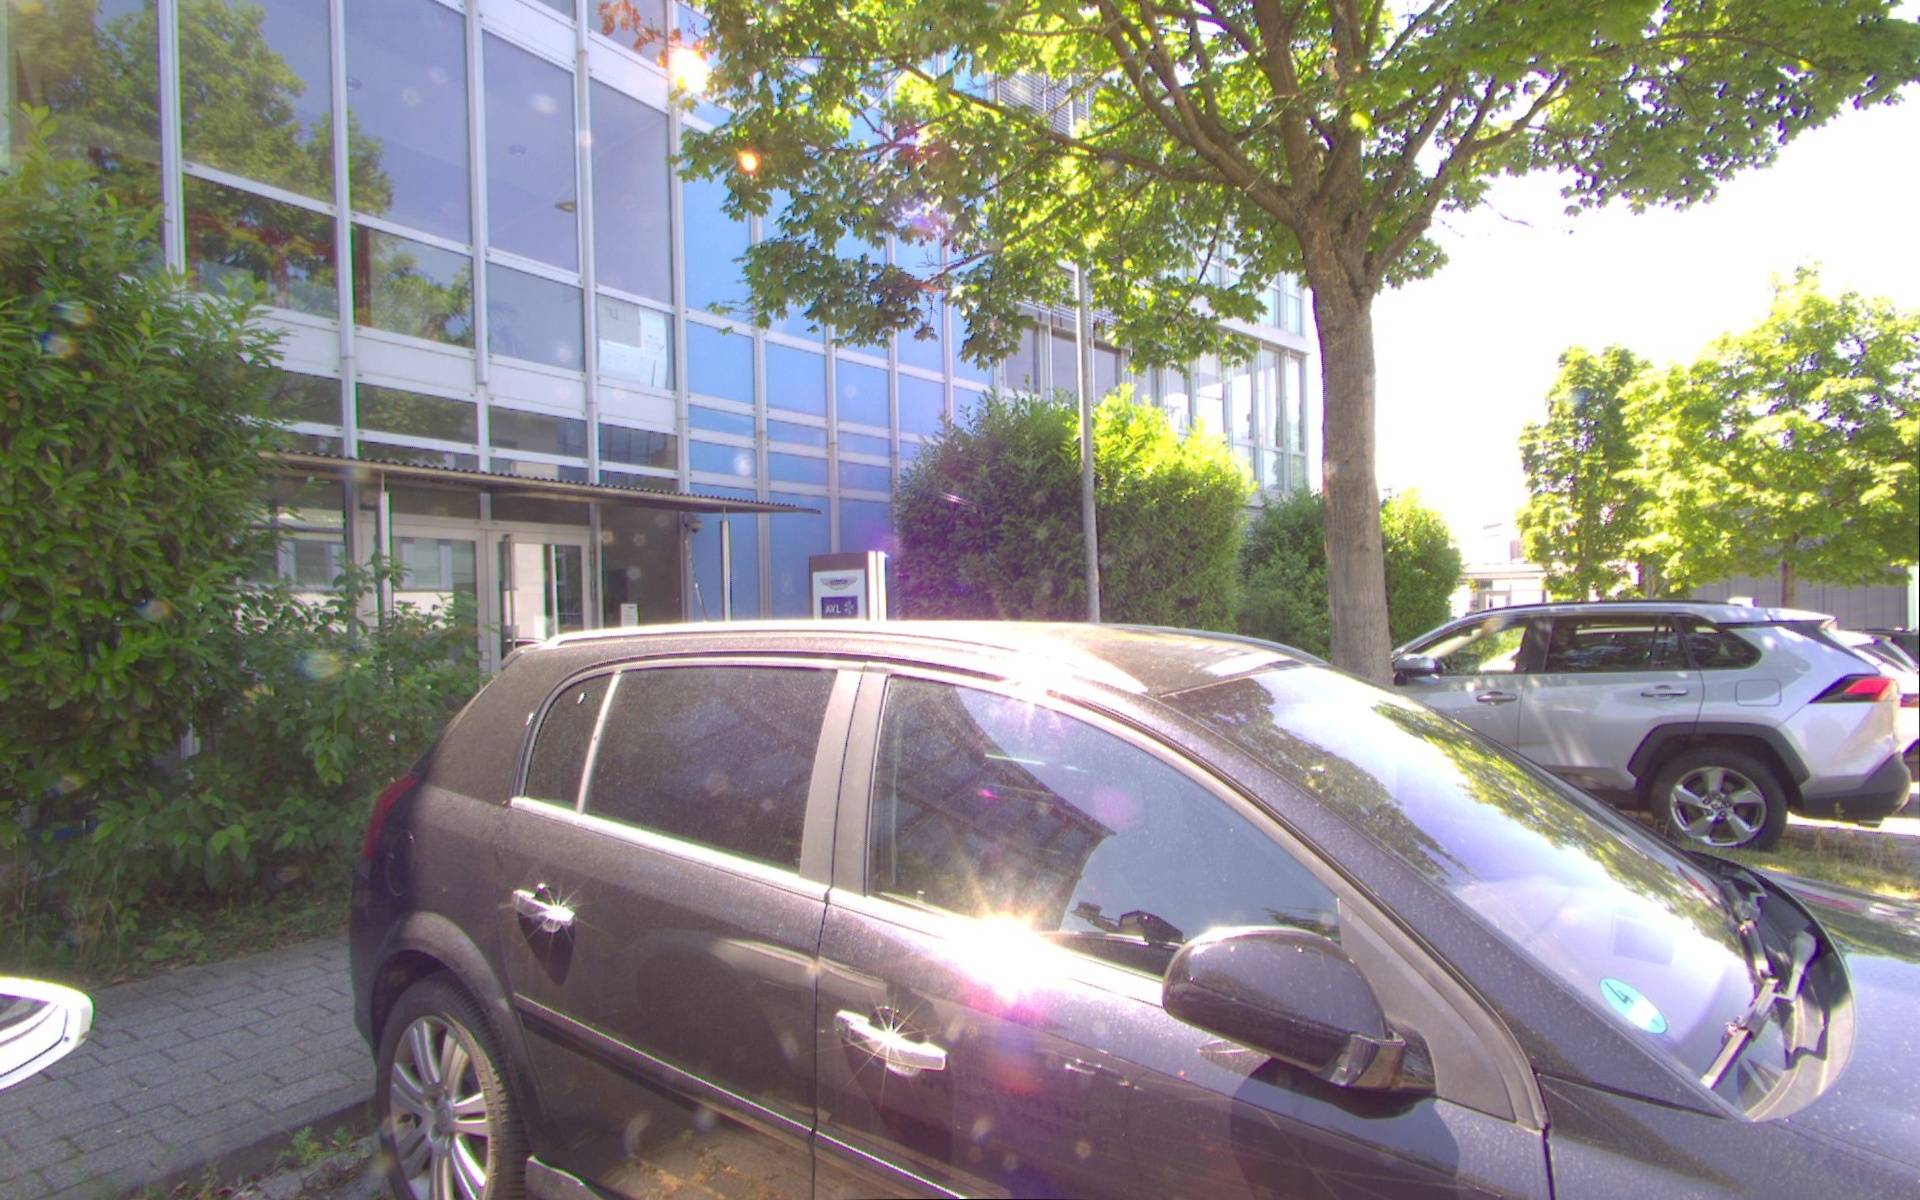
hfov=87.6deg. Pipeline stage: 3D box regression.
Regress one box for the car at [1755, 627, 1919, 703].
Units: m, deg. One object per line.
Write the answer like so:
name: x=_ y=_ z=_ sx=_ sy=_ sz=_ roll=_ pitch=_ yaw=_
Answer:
car: x=20.242 y=1.423 z=22.367 sx=1.614 sy=1.545 sz=3.566 roll=1 pitch=-1 yaw=-34

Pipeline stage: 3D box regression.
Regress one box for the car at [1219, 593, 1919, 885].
car: x=4.415 y=0.809 z=7.774 sx=4.278 sy=1.664 sz=1.844 roll=0 pitch=-1 yaw=39

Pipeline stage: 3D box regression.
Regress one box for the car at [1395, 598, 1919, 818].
car: x=6.490 y=0.845 z=9.386 sx=4.150 sy=1.664 sz=1.649 roll=0 pitch=-1 yaw=39

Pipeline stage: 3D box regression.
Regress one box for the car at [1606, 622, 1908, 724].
car: x=14.713 y=1.255 z=18.700 sx=1.641 sy=1.626 sz=4.145 roll=1 pitch=-1 yaw=-37

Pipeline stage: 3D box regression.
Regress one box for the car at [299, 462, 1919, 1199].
car: x=0.492 y=0.708 z=2.145 sx=4.506 sy=1.569 sz=1.753 roll=-1 pitch=-2 yaw=37

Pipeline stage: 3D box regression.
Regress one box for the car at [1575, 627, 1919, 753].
car: x=11.451 y=1.192 z=14.430 sx=1.645 sy=1.505 sz=4.136 roll=2 pitch=-1 yaw=-44

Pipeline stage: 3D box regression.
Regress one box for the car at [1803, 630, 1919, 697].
car: x=22.311 y=1.485 z=23.484 sx=1.614 sy=1.462 sz=3.566 roll=1 pitch=-1 yaw=-34
